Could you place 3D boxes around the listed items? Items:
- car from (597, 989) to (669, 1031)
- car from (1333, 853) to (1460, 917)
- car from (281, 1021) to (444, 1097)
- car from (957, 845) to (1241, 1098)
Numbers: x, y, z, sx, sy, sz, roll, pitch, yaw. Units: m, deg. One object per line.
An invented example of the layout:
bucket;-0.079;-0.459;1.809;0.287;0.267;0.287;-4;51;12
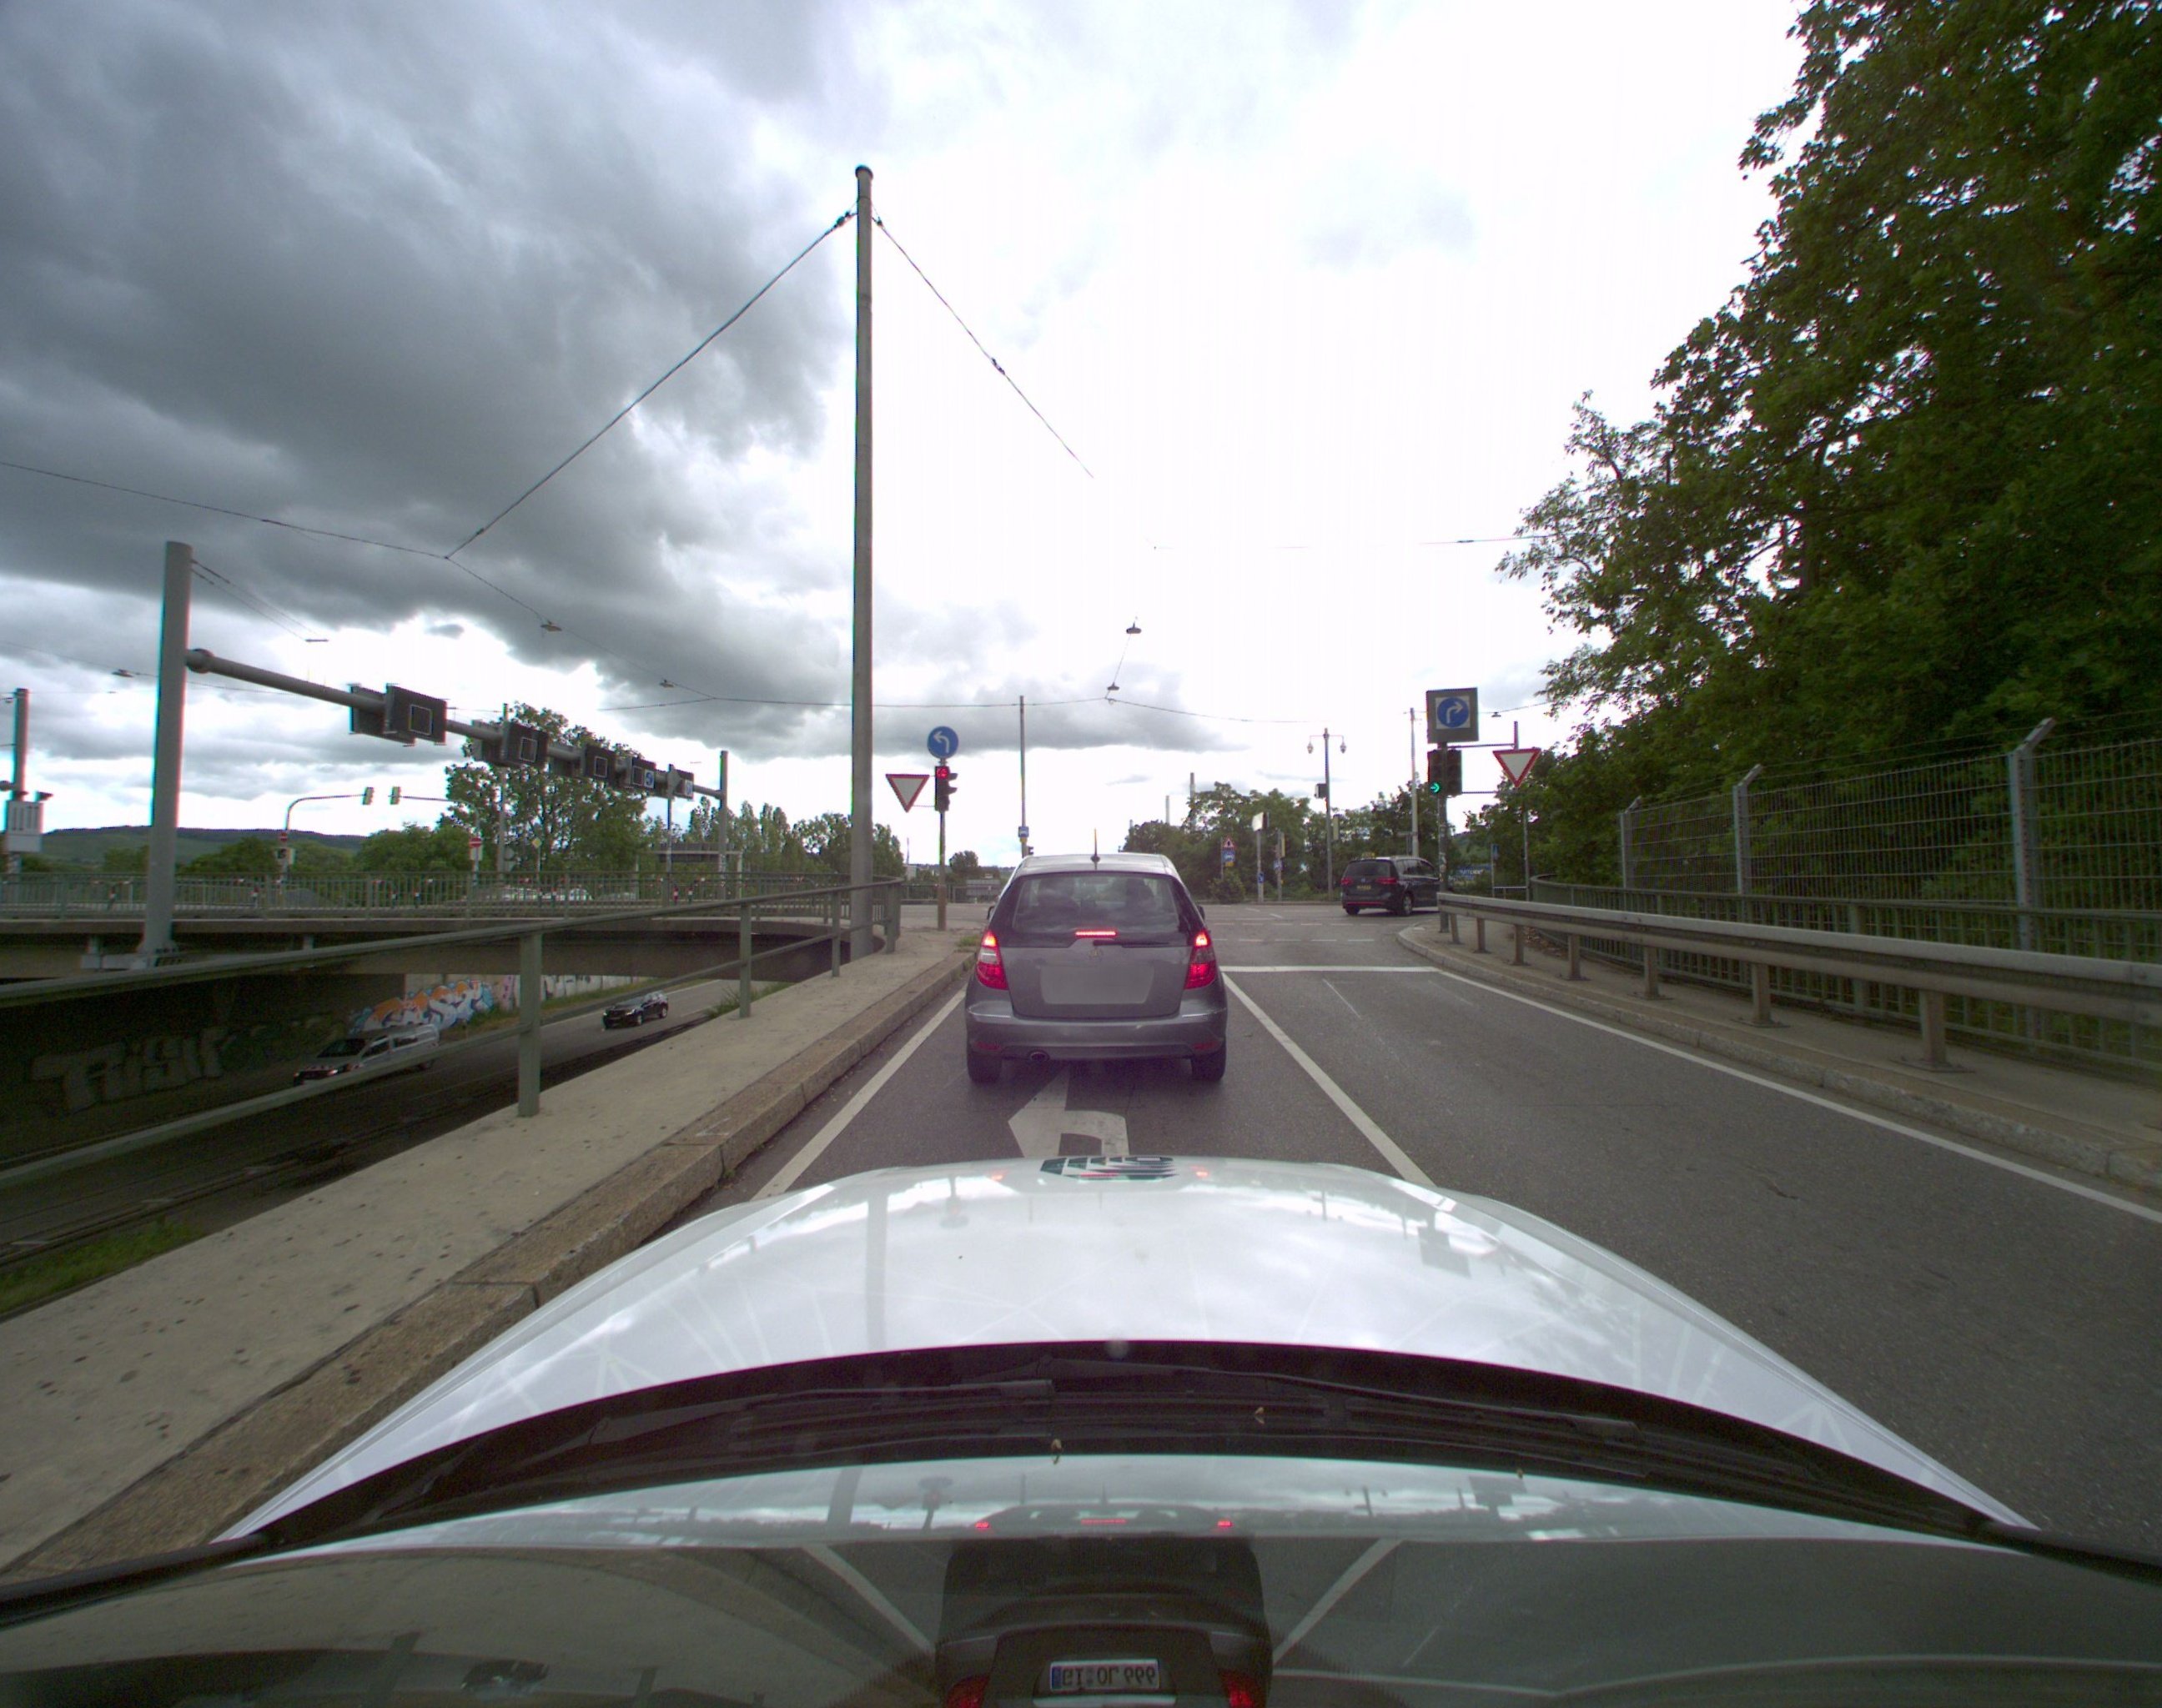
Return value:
car;-24.570;8.525;44.823;1.659;1.621;4.001;-3;-3;2
car;9.111;0.823;23.352;4.173;1.653;1.780;0;-1;-43
car;-27.940;7.935;31.960;1.940;1.908;4.910;-2;-3;1
car;0.169;0.734;6.775;1.733;1.543;3.542;0;-1;2
